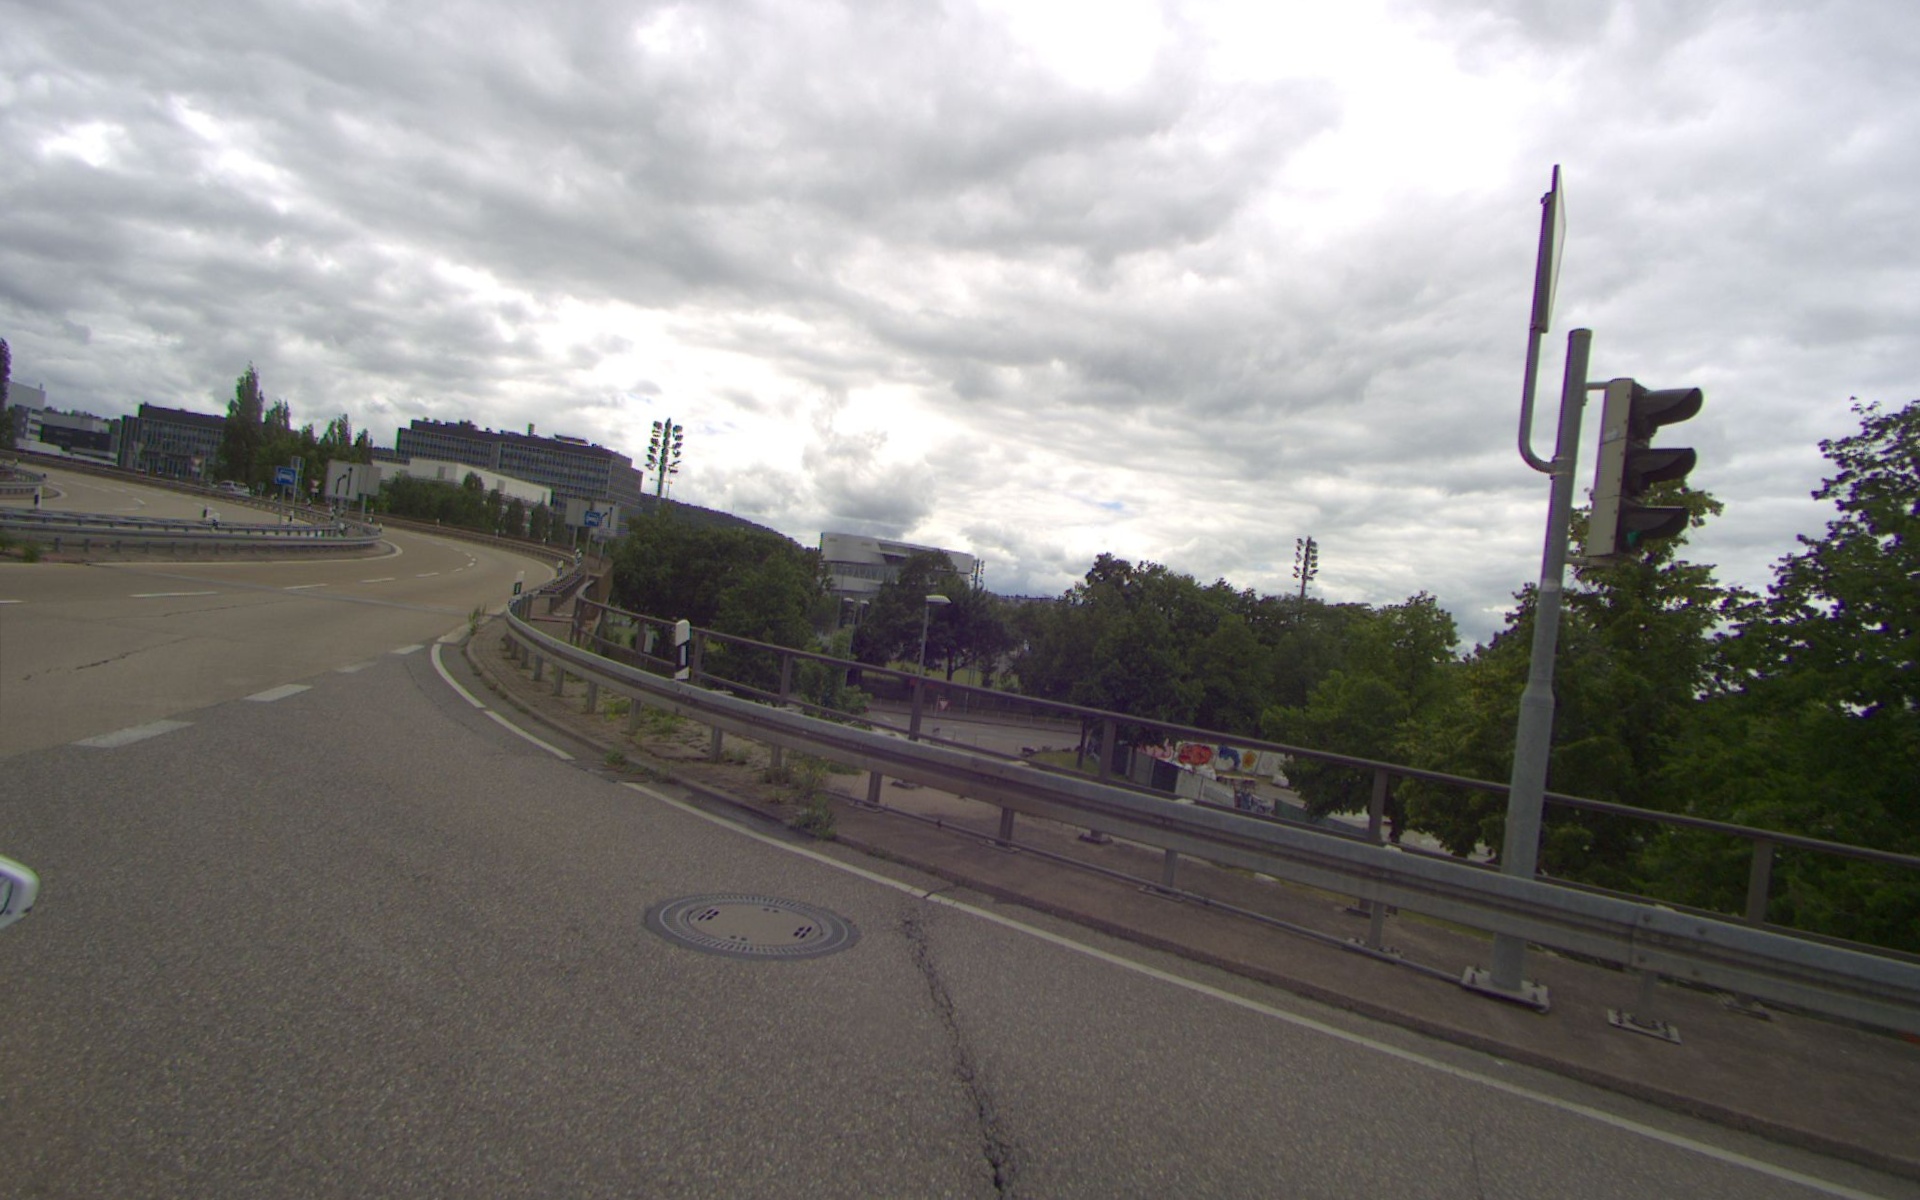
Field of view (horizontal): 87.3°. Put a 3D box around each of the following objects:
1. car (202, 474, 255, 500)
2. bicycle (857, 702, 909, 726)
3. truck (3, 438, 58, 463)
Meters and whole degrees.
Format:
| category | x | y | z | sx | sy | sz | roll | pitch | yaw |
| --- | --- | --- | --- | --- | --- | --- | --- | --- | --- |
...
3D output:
| category | x | y | z | sx | sy | sz | roll | pitch | yaw |
| --- | --- | --- | --- | --- | --- | --- | --- | --- | --- |
| car | -68.894 | -10.682 | 94.750 | 4.472 | 1.756 | 1.731 | 8 | -2 | 22 |
| bicycle | -5.839 | 8.688 | 76.592 | 3.819 | 1.188 | 1.084 | 13 | -9 | -30 |
| truck | -132.477 | -21.295 | 143.453 | 1.962 | 2.186 | 5.652 | 8 | -4 | 6 |
